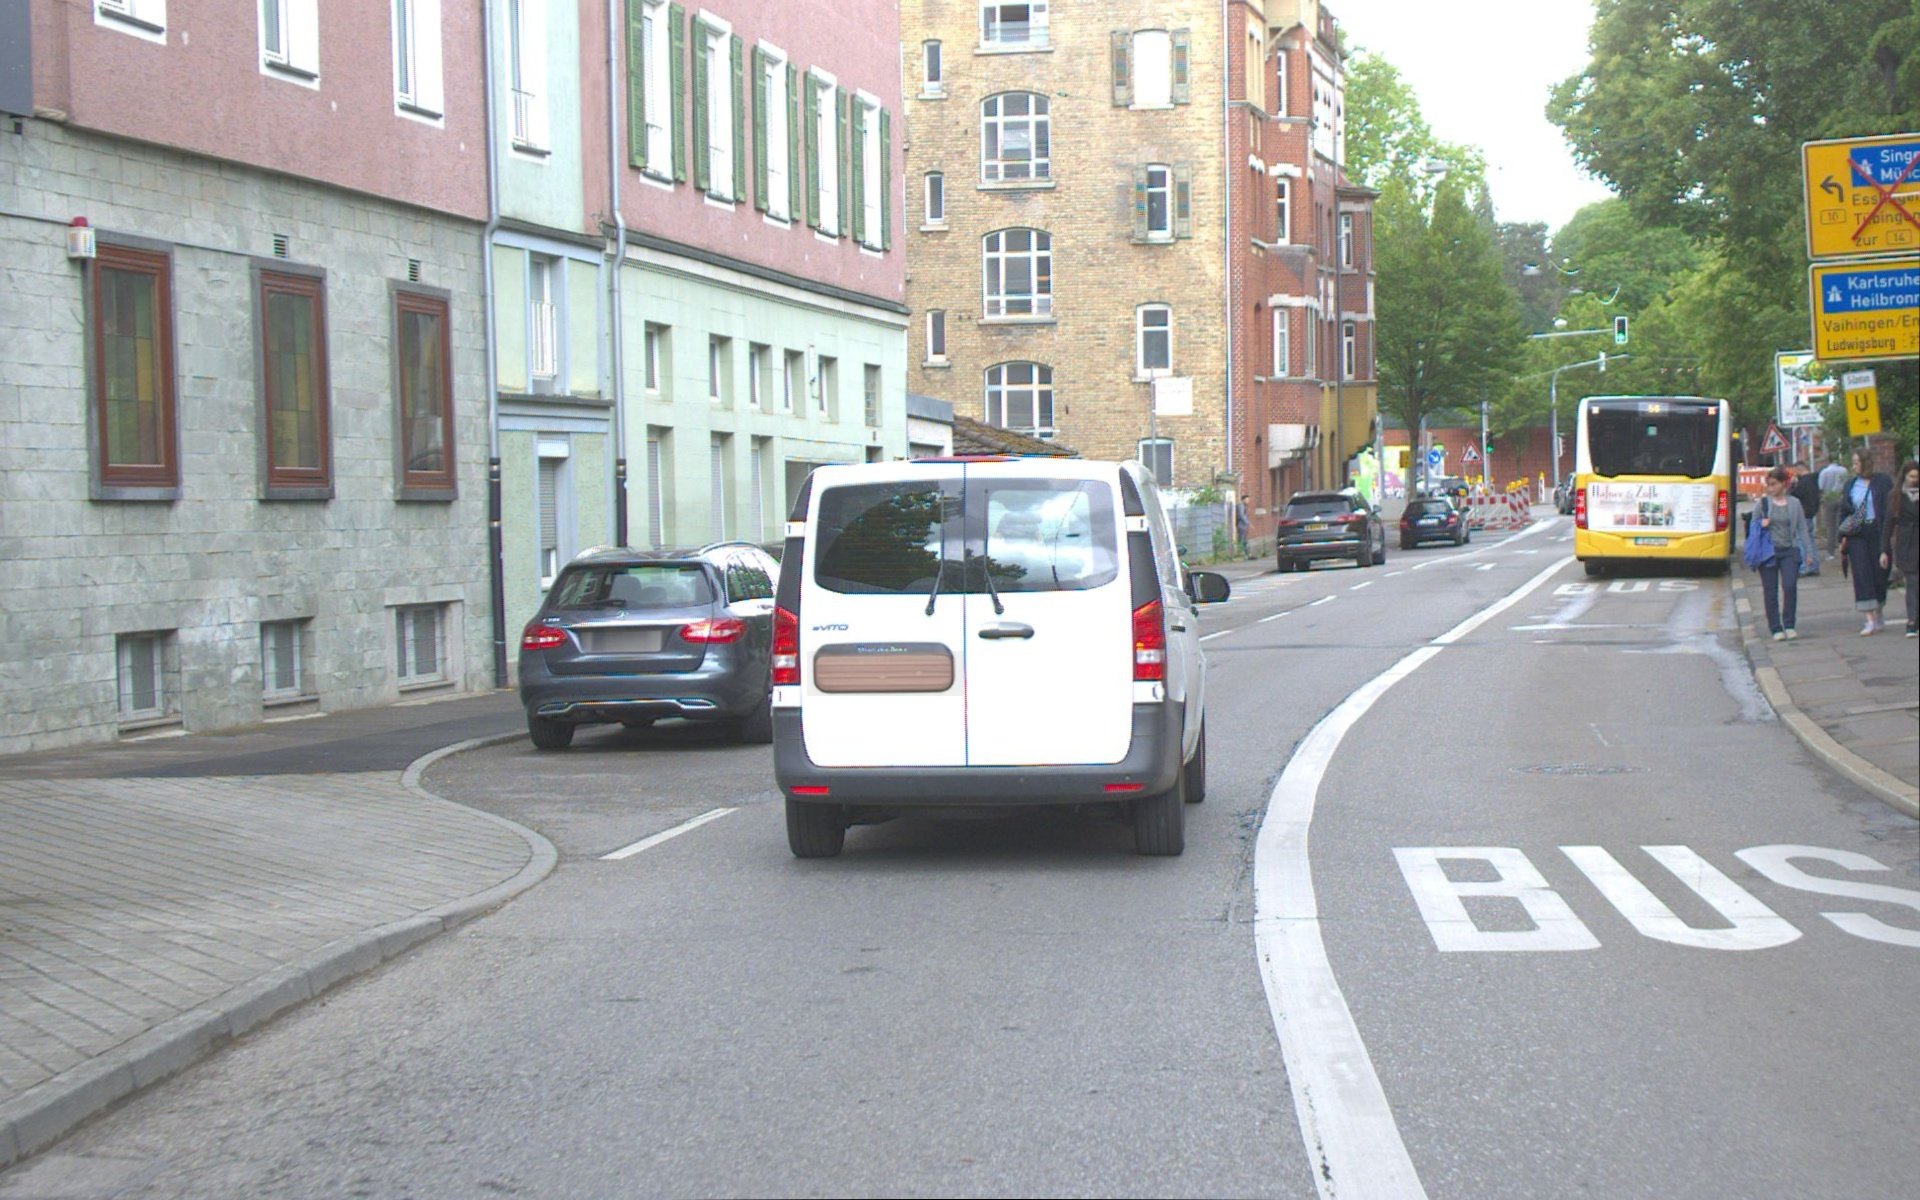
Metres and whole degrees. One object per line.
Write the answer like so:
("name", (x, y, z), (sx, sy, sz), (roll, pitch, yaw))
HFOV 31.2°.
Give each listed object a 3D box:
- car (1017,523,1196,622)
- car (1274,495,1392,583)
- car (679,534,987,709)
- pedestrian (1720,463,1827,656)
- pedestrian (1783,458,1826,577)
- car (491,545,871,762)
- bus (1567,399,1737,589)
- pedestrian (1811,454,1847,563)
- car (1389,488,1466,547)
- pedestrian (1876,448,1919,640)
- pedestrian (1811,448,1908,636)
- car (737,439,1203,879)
("car", (2.072, -0.371, 47.466), (1.994, 1.285, 3.998), (1, 0, 9))
("car", (8.006, -1.341, 73.522), (1.955, 1.728, 4.771), (-1, 2, 13))
("car", (-1.068, 0.141, 31.649), (1.829, 1.450, 4.919), (-1, 1, 10))
("pedestrian", (7.886, -0.401, 33.353), (0.803, 1.787, 0.942), (-4, 2, 7))
("pedestrian", (12.741, -1.244, 51.858), (0.582, 1.772, 0.821), (1, 2, 12))
("car", (-1.985, 0.337, 25.919), (1.829, 1.450, 4.583), (-1, 1, 9))
("bus", (12.518, -1.928, 61.647), (2.664, 3.125, 10.035), (1, 2, 13))
("pedestrian", (14.529, -1.533, 57.483), (0.450, 1.772, 0.671), (-4, 1, 12))
("car", (13.581, -2.408, 99.690), (1.726, 1.480, 4.388), (0, 4, 14))
("pedestrian", (8.916, -0.537, 32.137), (0.543, 1.750, 0.608), (-3, 2, 20))
("pedestrian", (8.698, -0.569, 33.269), (0.687, 1.750, 0.878), (-4, 2, 7))
("car", (0.203, 0.247, 17.498), (1.917, 1.895, 4.700), (1, 0, 5))
